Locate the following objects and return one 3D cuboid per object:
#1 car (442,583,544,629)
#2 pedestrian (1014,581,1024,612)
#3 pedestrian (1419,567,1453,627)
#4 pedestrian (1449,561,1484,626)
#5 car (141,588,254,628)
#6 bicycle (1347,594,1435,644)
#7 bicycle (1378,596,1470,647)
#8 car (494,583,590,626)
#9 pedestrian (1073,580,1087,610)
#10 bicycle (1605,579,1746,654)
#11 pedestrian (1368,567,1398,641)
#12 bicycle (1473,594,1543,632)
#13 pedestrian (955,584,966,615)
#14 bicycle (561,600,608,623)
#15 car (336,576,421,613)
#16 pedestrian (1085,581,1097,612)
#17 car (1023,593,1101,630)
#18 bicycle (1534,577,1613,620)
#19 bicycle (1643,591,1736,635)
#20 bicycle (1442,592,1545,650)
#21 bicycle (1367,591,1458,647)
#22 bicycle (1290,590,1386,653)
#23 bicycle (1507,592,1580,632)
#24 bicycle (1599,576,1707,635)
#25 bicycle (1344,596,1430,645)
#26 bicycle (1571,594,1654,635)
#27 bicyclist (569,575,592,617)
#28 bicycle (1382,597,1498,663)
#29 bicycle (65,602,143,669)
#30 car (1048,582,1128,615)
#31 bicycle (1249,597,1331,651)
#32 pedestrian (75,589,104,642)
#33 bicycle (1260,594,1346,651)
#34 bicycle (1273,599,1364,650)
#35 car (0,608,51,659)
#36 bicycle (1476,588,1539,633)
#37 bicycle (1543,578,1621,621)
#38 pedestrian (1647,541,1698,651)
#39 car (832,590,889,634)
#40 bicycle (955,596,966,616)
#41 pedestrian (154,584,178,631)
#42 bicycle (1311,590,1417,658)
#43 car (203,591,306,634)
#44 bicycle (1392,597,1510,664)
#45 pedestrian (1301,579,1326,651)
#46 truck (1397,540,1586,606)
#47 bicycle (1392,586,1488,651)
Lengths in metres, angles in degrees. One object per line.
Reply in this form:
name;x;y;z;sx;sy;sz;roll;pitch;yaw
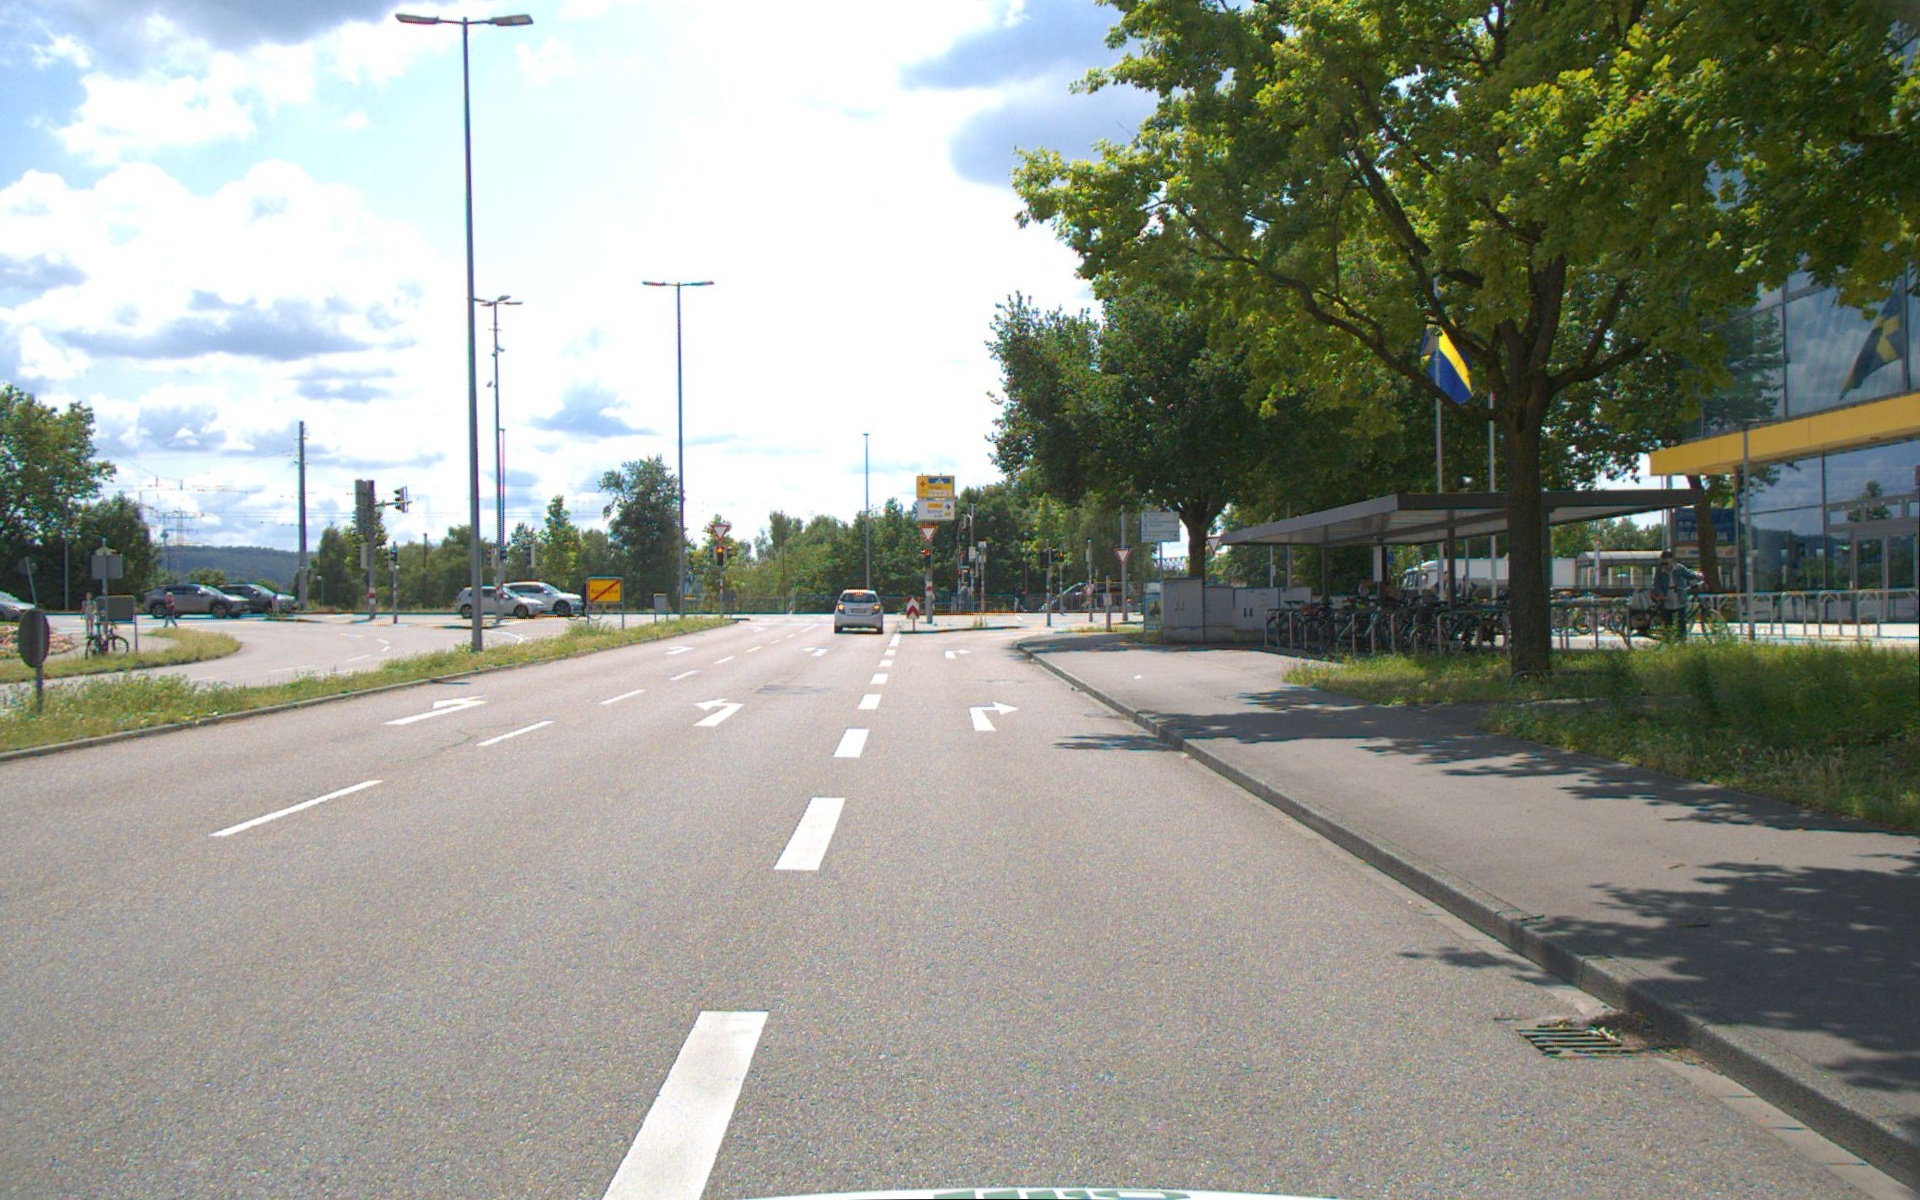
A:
car;-22.231;0.278;78.843;4.261;2.024;1.999;-1;0;-2
pedestrian;3.318;-0.204;93.618;0.512;1.751;0.730;-2;0;2
pedestrian;15.570;-0.094;54.127;0.986;1.935;0.975;-1;-1;13
pedestrian;16.725;-0.208;54.632;0.986;2.108;0.975;-1;-1;13
car;-36.278;0.389;78.753;4.412;1.704;1.904;-2;-1;1
bicycle;9.455;0.413;36.286;1.826;1.012;0.423;-2;0;-6
bicycle;9.812;0.457;34.987;1.826;1.012;0.423;-2;-2;-6
car;-20.627;0.212;81.757;4.261;2.024;1.999;-1;0;-2
pedestrian;6.930;-0.293;95.572;0.691;1.751;0.601;-2;0;1
bicycle;11.518;0.279;26.659;1.975;1.127;0.575;-3;-1;37
pedestrian;9.832;0.085;38.428;0.533;1.691;0.478;-1;0;-3
bicycle;15.502;0.361;46.818;1.824;1.012;0.424;-2;0;0
pedestrian;0.048;-0.031;95.780;0.598;1.800;0.672;-1;0;0
bicycle;-16.948;0.520;74.670;1.976;1.016;0.622;1;0;-2
car;-33.502;-0.322;95.378;4.271;2.024;1.995;-1;0;-11
pedestrian;7.507;-0.219;94.884;0.662;1.778;0.637;-1;1;1
car;5.404;0.613;88.020;3.908;1.814;1.908;-2;0;-4
bicycle;15.252;-0.039;41.115;1.826;1.012;0.423;-2;-1;-6
bicycle;15.933;0.275;36.143;1.824;0.897;0.470;-2;0;-1
bicycle;10.212;0.404;31.671;1.826;1.012;0.423;-3;-1;-6
bicycle;9.741;0.404;35.635;1.826;1.135;0.423;-2;-1;-7
bicycle;7.684;0.438;33.645;1.826;1.208;0.423;-2;0;-6
bicycle;15.662;0.318;44.423;1.826;1.012;0.464;-1;0;-6
bicycle;15.613;0.122;37.298;2.094;1.251;0.721;-2;0;8
bicycle;9.695;0.453;37.548;1.824;1.052;0.424;-2;0;0
bicycle;15.661;0.353;39.702;1.826;0.897;0.423;-2;0;-6
bicyclist;-17.126;-0.176;74.648;0.902;1.878;0.611;-1;0;-2
bicycle;8.114;0.507;27.992;1.826;1.012;0.423;-3;0;-6
bicycle;-22.719;0.917;43.937;0.997;1.704;2.048;-2;0;-1
car;7.669;-0.082;99.213;4.558;1.852;1.999;-1;0;-2
bicycle;7.692;0.557;38.579;1.826;1.208;0.423;-2;0;-6
pedestrian;-30.841;0.555;58.614;0.855;1.870;0.790;2;-1;-30
bicycle;7.730;0.497;37.262;1.826;1.208;0.423;-2;0;-6
bicycle;7.598;0.520;35.074;1.826;1.012;0.423;-2;0;-6
car;-41.024;1.446;70.267;3.902;2.049;2.002;-2;0;15
bicycle;15.153;0.277;45.777;1.649;1.177;0.459;-2;0;-16
bicycle;15.891;-0.005;42.265;1.826;1.012;0.423;-3;-1;-6
pedestrian;11.670;-0.063;27.098;0.622;1.752;0.523;-3;-2;34
car;-3.514;0.410;58.885;1.856;1.495;3.833;1;0;-1
bicycle;0.050;0.331;95.814;0.606;1.106;1.722;-1;0;0
pedestrian;-31.933;0.308;66.492;0.787;1.870;0.858;2;-1;-30
bicycle;7.668;0.451;31.417;1.857;1.190;0.424;-2;0;0
car;-35.035;0.614;82.220;4.261;2.024;1.999;-1;0;-2
bicycle;8.157;0.502;27.503;1.826;1.012;0.423;-3;0;-6
pedestrian;8.404;0.357;39.328;0.532;1.691;0.546;-1;-1;9
truck;35.379;-1.792;110.355;11.715;4.176;2.951;-1;0;-1
bicycle;9.798;0.376;33.761;1.826;1.253;0.423;-2;0;-6
